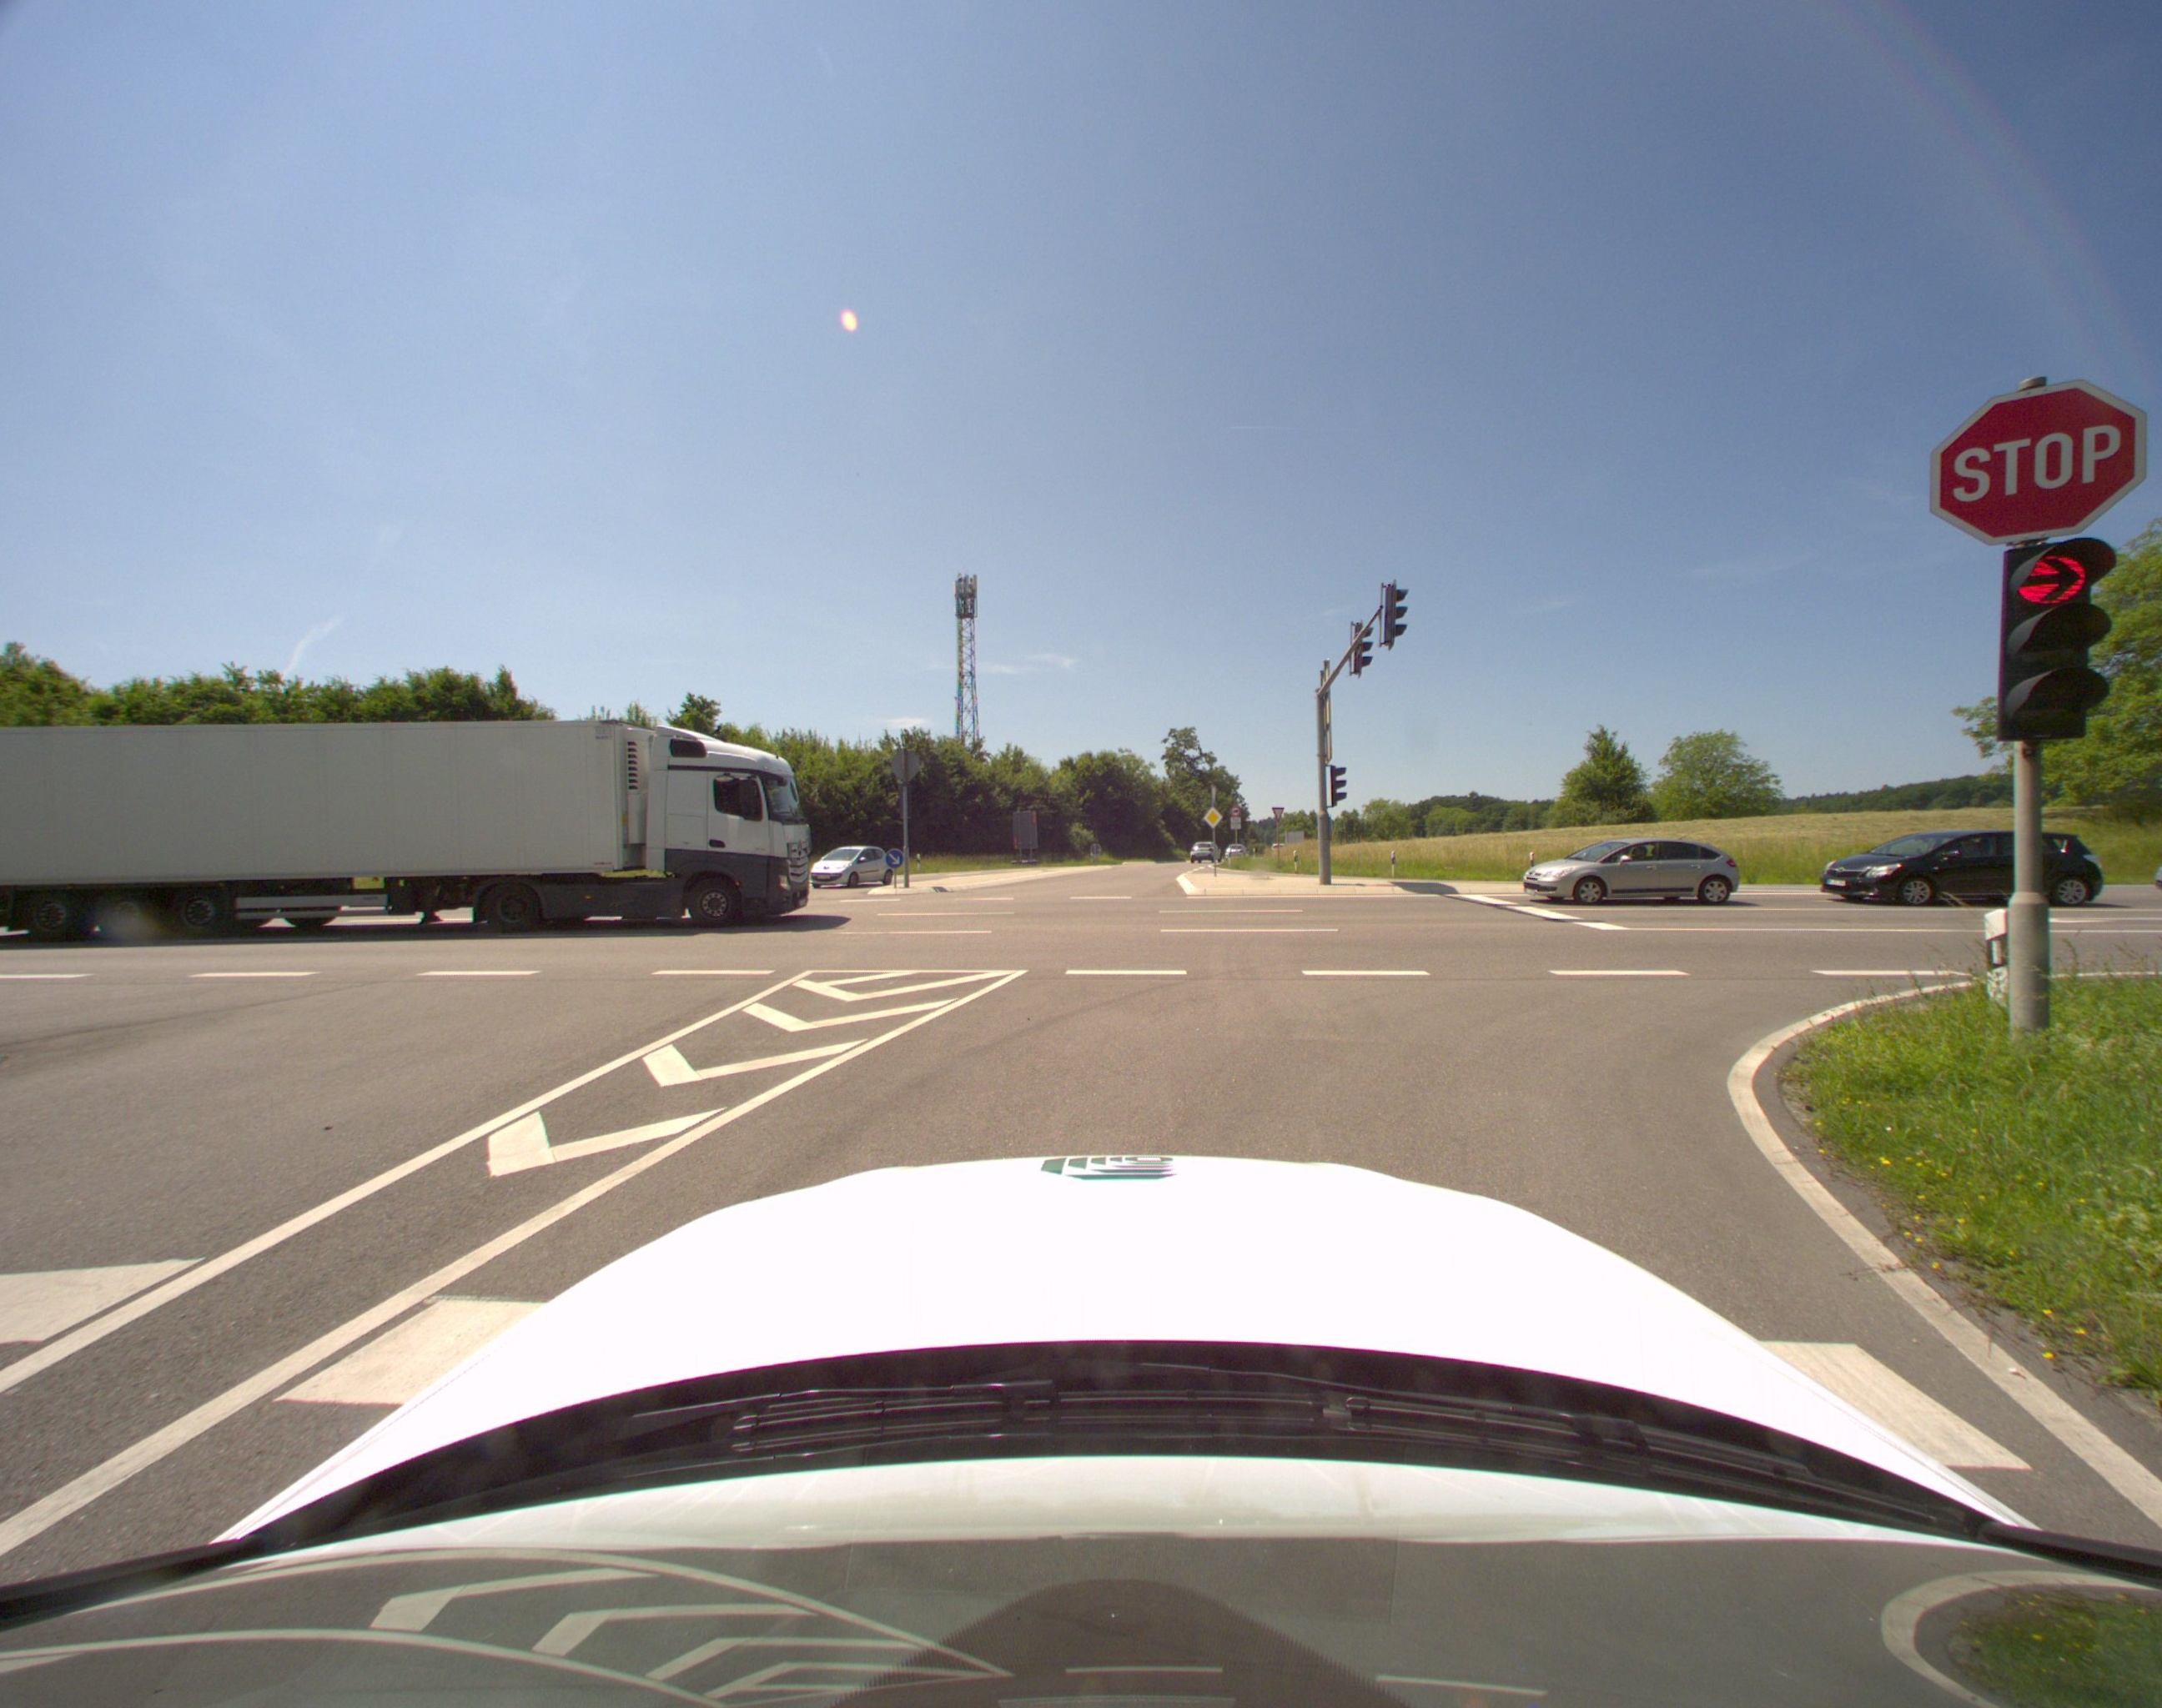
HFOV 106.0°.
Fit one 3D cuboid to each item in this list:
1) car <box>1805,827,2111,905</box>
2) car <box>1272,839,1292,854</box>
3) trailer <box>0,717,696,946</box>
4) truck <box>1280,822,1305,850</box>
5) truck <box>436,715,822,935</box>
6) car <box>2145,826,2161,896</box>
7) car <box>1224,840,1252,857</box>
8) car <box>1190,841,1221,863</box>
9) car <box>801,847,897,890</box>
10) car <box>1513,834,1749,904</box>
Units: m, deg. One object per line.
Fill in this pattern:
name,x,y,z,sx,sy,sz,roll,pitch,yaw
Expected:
car,18.733,0.226,17.608,4.342,1.553,1.734,0,2,9
car,23.266,-0.920,94.387,1.797,1.624,4.080,-1,1,20
trailer,-15.416,-0.449,16.426,13.755,4.036,2.659,-1,1,-2
truck,33.560,-2.740,129.494,3.104,4.172,16.743,-1,0,12
truck,-8.907,-0.584,16.670,6.243,4.036,2.660,-1,1,-2
car,25.869,0.169,17.250,3.984,1.553,1.660,0,2,9
car,13.646,-0.496,70.673,1.798,1.413,3.802,-1,2,18
car,8.897,-0.177,57.984,1.716,1.404,4.004,0,2,16
car,-8.275,0.470,29.369,1.552,1.370,3.548,-1,1,18
car,12.380,0.312,18.553,4.135,1.469,1.733,0,2,6
